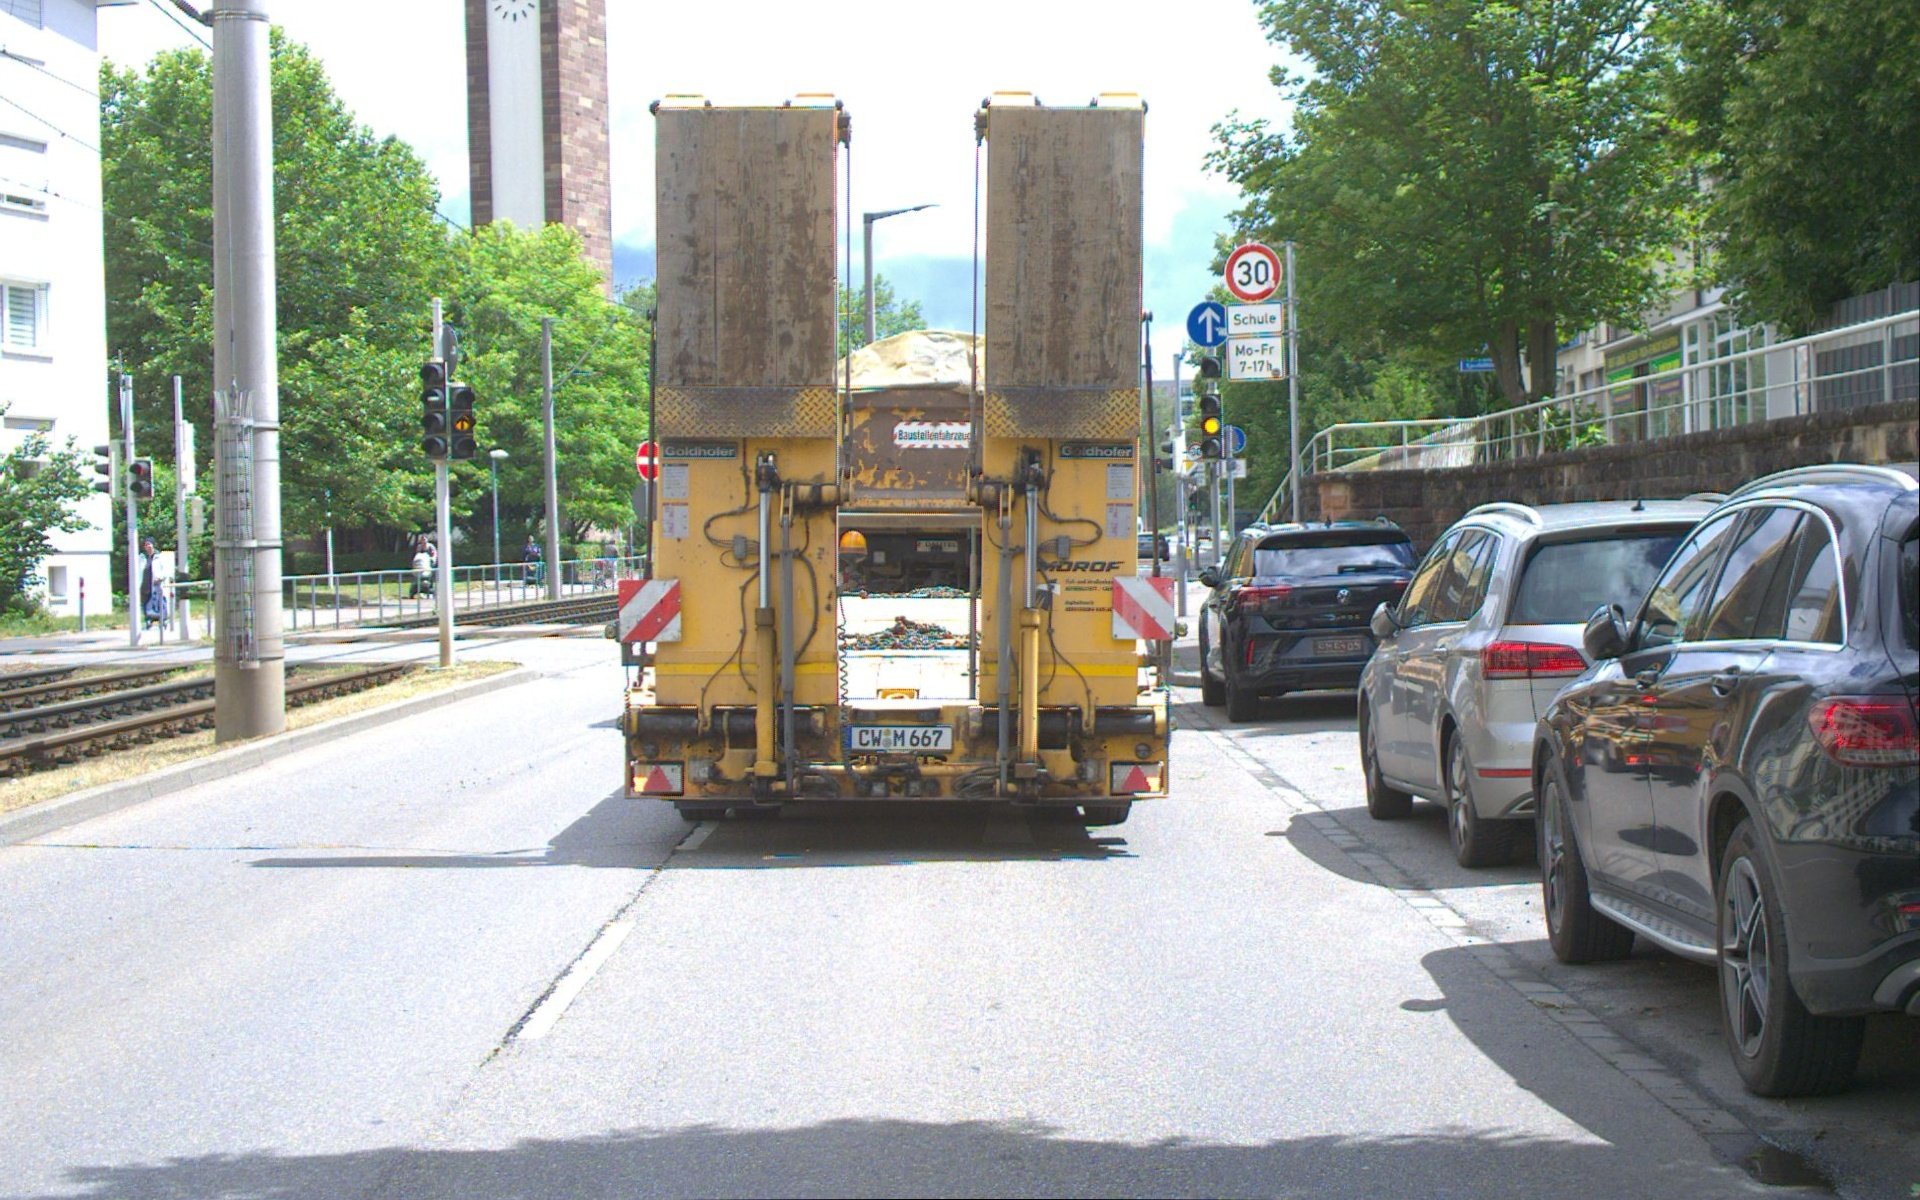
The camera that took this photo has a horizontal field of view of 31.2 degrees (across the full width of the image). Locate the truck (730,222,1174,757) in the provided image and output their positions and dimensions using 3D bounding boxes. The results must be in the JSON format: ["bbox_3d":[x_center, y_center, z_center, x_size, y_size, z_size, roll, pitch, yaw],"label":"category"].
[{"bbox_3d":[-0.014,-0.798,25.524,2.943,3.560,4.877,1,1,1],"label":"truck"}]

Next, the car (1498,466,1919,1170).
[{"bbox_3d":[2.886,0.416,10.137,1.790,1.612,4.448,-3,1,0],"label":"car"}]

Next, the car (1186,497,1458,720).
[{"bbox_3d":[2.903,0.025,28.321,1.851,1.633,4.000,-2,1,1],"label":"car"}]

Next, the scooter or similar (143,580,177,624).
[{"bbox_3d":[-13.973,0.032,60.049,0.438,0.745,0.474,-1,1,6],"label":"scooter or similar"}]

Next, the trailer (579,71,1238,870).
[{"bbox_3d":[-0.137,-0.679,19.953,2.945,3.589,8.684,1,1,1],"label":"trailer"}]

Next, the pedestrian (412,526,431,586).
[{"bbox_3d":[-13.870,-1.147,88.517,0.348,1.531,0.557,-1,1,4],"label":"pedestrian"}]

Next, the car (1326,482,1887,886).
[{"bbox_3d":[2.911,0.304,16.400,1.790,1.612,4.249,-2,1,0],"label":"car"}]

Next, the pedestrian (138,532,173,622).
[{"bbox_3d":[-14.161,-0.407,60.540,0.438,1.575,0.474,-1,1,5],"label":"pedestrian"}]

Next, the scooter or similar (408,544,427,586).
[{"bbox_3d":[-13.864,-0.900,87.888,0.338,1.054,0.687,-1,1,4],"label":"scooter or similar"}]

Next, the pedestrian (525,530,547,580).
[{"bbox_3d":[-12.952,-1.383,104.980,0.563,1.508,0.646,1,1,0],"label":"pedestrian"}]

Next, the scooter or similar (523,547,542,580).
[{"bbox_3d":[-12.974,-1.106,104.329,0.505,0.968,0.646,1,1,0],"label":"scooter or similar"}]
